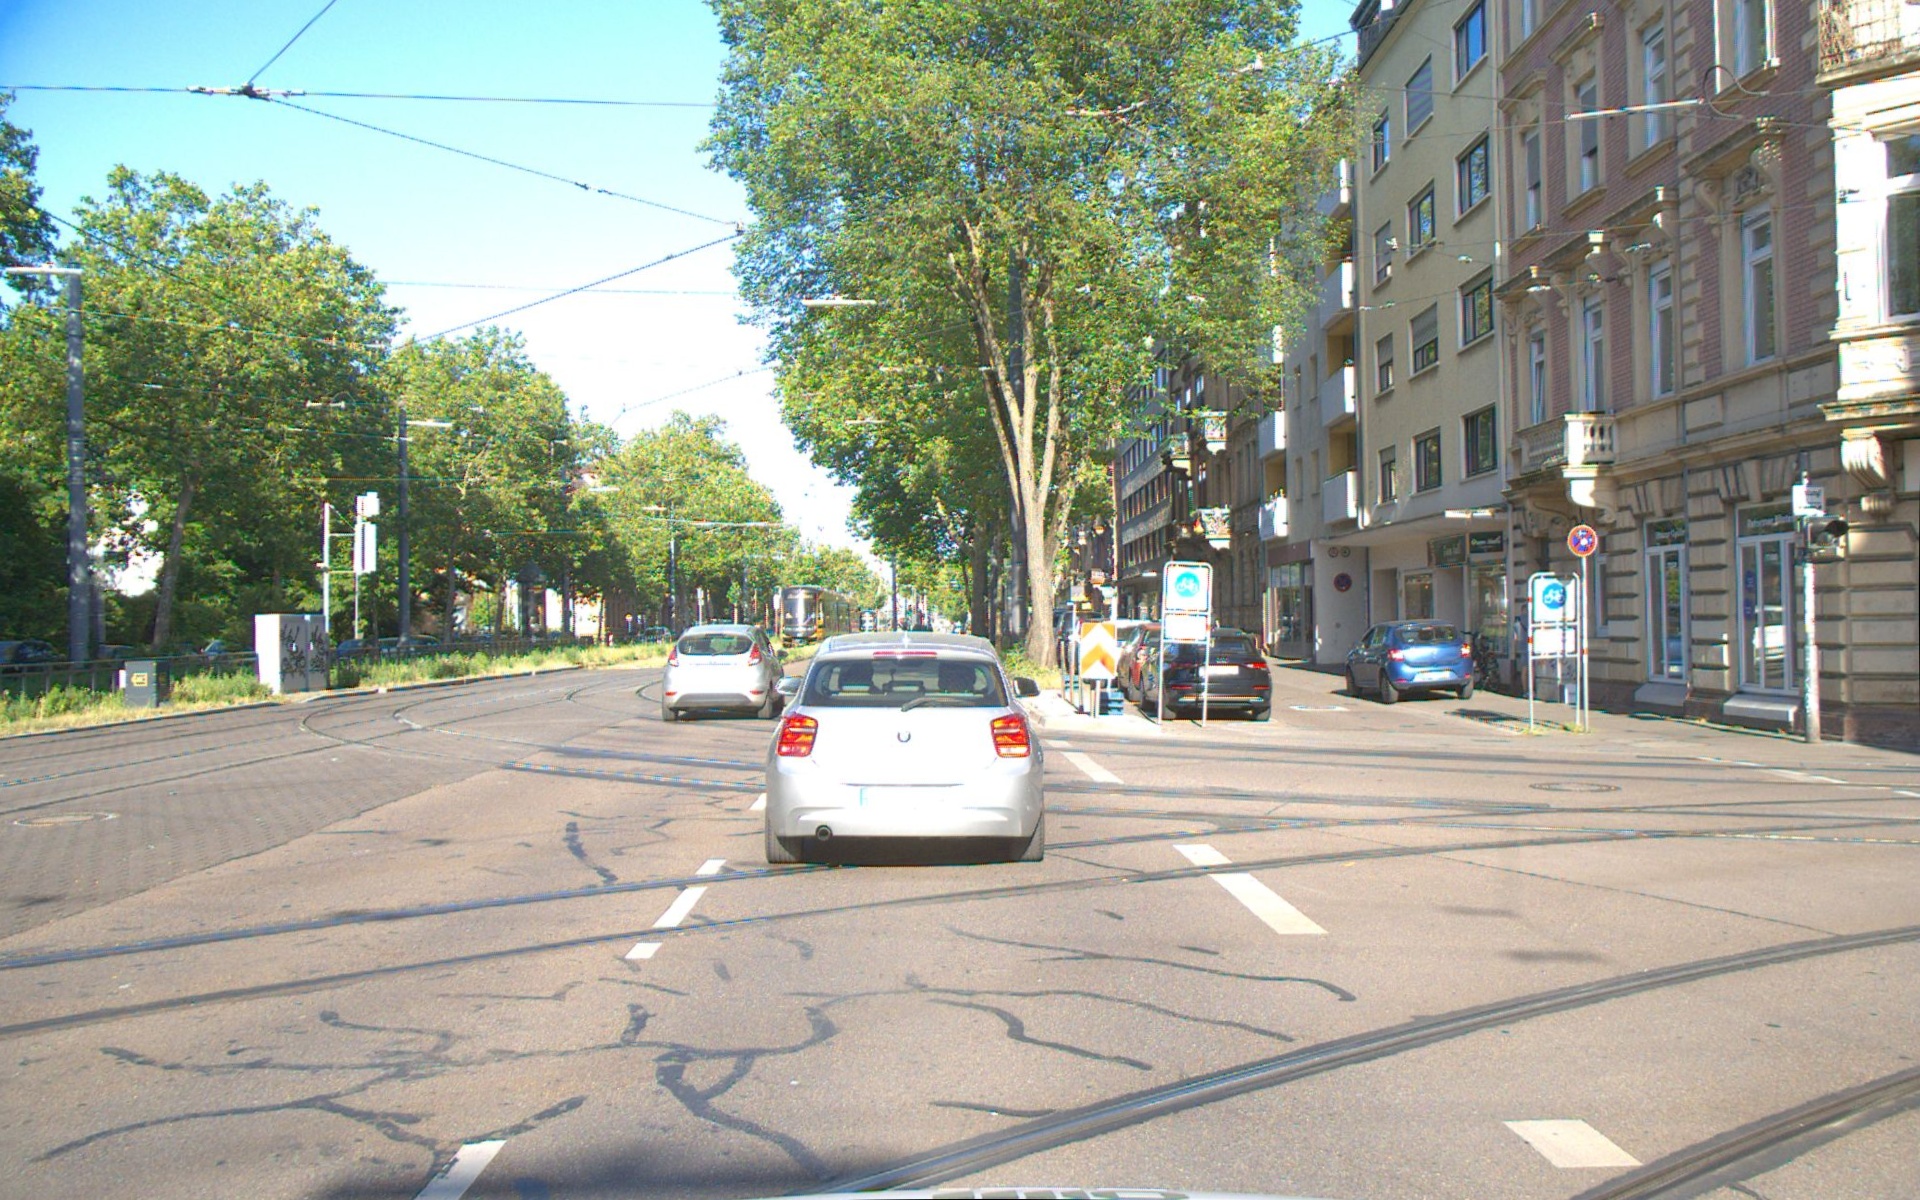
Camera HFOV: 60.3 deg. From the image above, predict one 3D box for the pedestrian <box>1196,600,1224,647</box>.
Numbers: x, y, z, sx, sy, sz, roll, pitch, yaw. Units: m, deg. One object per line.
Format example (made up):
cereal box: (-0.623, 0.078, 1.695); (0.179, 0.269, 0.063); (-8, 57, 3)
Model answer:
pedestrian: (9.945, 0.931, 65.849); (0.979, 1.872, 0.715); (-1, -1, 1)

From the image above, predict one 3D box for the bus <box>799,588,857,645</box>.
bus: (-8.634, 1.082, 109.666); (2.810, 3.504, 12.213); (-1, -1, 0)

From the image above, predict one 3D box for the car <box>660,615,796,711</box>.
car: (-3.639, 0.956, 26.532); (1.613, 1.386, 3.759); (1, 0, 0)

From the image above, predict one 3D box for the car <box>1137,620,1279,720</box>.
car: (3.995, 1.090, 27.241); (1.662, 1.446, 4.168); (1, 0, -1)

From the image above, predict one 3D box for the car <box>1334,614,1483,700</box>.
car: (8.873, 1.080, 33.039); (1.659, 1.506, 3.998); (-3, 0, -3)

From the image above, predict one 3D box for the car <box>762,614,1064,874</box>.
car: (-0.298, 0.851, 11.561); (1.726, 1.457, 3.999); (1, 0, -1)

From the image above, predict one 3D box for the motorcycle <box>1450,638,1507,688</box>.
motorcycle: (10.446, 1.255, 33.377); (0.476, 0.911, 1.872); (-4, 0, -1)

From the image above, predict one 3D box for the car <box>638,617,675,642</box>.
car: (-21.425, 2.062, 116.964); (1.847, 1.648, 4.596); (1, 0, -1)

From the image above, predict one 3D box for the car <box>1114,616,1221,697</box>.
car: (4.006, 1.057, 32.417); (1.556, 1.459, 3.904); (1, 0, 0)

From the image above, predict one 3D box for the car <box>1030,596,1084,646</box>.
car: (3.698, 0.790, 63.776); (1.826, 1.847, 4.800); (1, 0, 1)

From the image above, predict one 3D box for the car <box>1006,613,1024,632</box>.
car: (5.908, 2.396, 177.646); (1.719, 1.999, 4.736); (0, 0, 0)

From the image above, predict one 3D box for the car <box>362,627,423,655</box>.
car: (-28.307, 2.031, 82.672); (1.733, 1.335, 3.780); (1, 0, 0)

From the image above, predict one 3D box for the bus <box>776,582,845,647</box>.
bus: (-8.622, 0.862, 96.995); (2.810, 3.504, 13.215); (-1, -1, 0)

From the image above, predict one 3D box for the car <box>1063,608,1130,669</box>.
car: (3.565, 0.970, 43.529); (1.529, 1.511, 3.787); (1, 0, 1)

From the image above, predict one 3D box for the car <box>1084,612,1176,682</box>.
car: (3.880, 1.052, 38.315); (1.593, 1.503, 3.696); (1, 0, -2)

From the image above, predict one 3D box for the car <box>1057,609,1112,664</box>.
car: (3.562, 1.033, 47.850); (1.480, 1.506, 3.493); (1, 0, 3)

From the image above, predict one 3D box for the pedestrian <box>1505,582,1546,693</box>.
pedestrian: (10.673, 0.701, 31.248); (0.501, 2.049, 0.852); (1, -1, 3)
